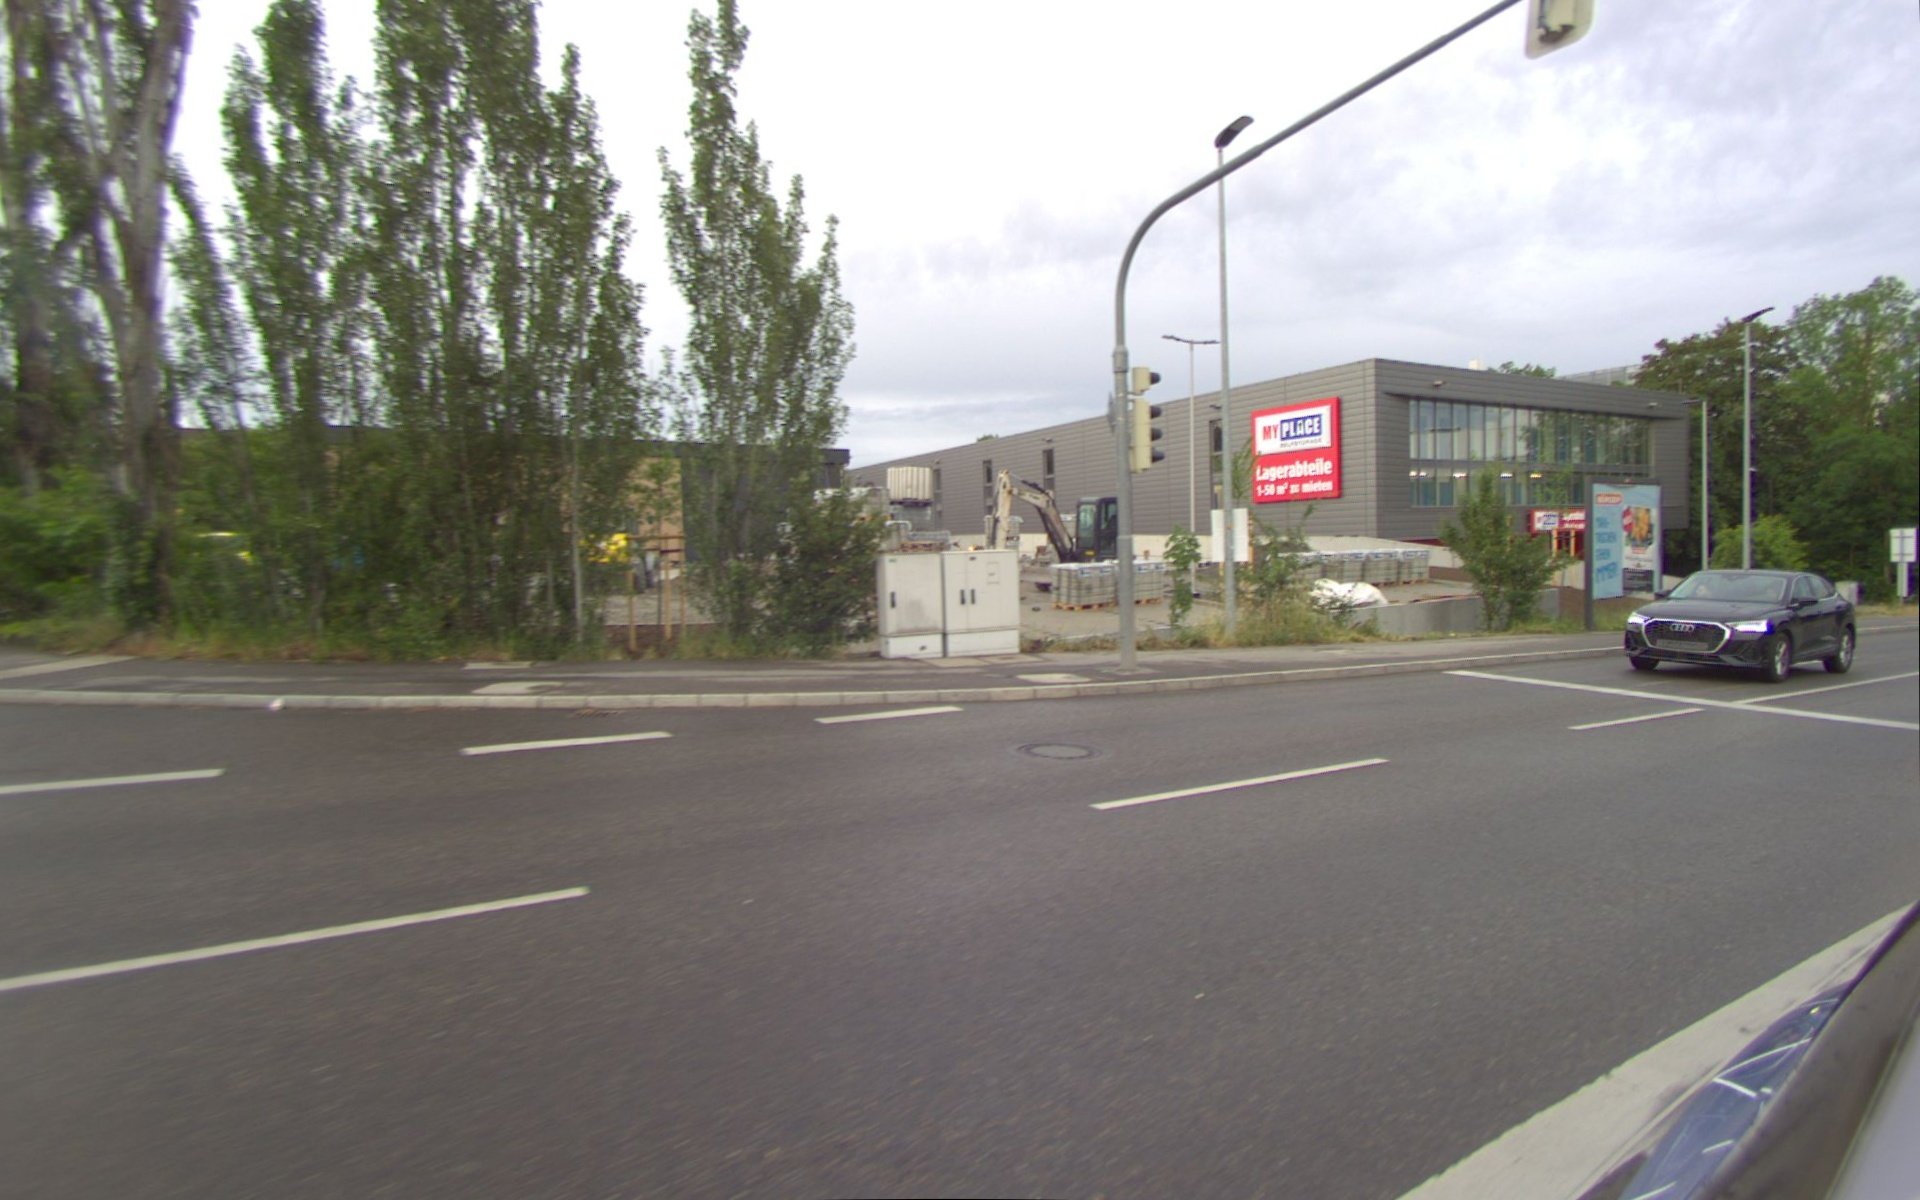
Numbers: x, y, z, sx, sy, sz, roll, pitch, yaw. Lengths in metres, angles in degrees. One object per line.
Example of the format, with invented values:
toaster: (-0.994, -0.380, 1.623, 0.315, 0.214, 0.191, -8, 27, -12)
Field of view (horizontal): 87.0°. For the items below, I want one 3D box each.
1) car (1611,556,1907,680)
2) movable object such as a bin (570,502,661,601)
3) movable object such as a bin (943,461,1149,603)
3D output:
car: (12.194, 0.164, 15.313, 5.500, 1.564, 1.823, -1, 3, -33)
movable object such as a bin: (-9.942, -1.353, 29.574, 1.861, 2.651, 4.990, 0, 1, -11)
movable object such as a bin: (2.320, -1.657, 26.284, 5.330, 3.317, 2.306, -1, 1, -41)
